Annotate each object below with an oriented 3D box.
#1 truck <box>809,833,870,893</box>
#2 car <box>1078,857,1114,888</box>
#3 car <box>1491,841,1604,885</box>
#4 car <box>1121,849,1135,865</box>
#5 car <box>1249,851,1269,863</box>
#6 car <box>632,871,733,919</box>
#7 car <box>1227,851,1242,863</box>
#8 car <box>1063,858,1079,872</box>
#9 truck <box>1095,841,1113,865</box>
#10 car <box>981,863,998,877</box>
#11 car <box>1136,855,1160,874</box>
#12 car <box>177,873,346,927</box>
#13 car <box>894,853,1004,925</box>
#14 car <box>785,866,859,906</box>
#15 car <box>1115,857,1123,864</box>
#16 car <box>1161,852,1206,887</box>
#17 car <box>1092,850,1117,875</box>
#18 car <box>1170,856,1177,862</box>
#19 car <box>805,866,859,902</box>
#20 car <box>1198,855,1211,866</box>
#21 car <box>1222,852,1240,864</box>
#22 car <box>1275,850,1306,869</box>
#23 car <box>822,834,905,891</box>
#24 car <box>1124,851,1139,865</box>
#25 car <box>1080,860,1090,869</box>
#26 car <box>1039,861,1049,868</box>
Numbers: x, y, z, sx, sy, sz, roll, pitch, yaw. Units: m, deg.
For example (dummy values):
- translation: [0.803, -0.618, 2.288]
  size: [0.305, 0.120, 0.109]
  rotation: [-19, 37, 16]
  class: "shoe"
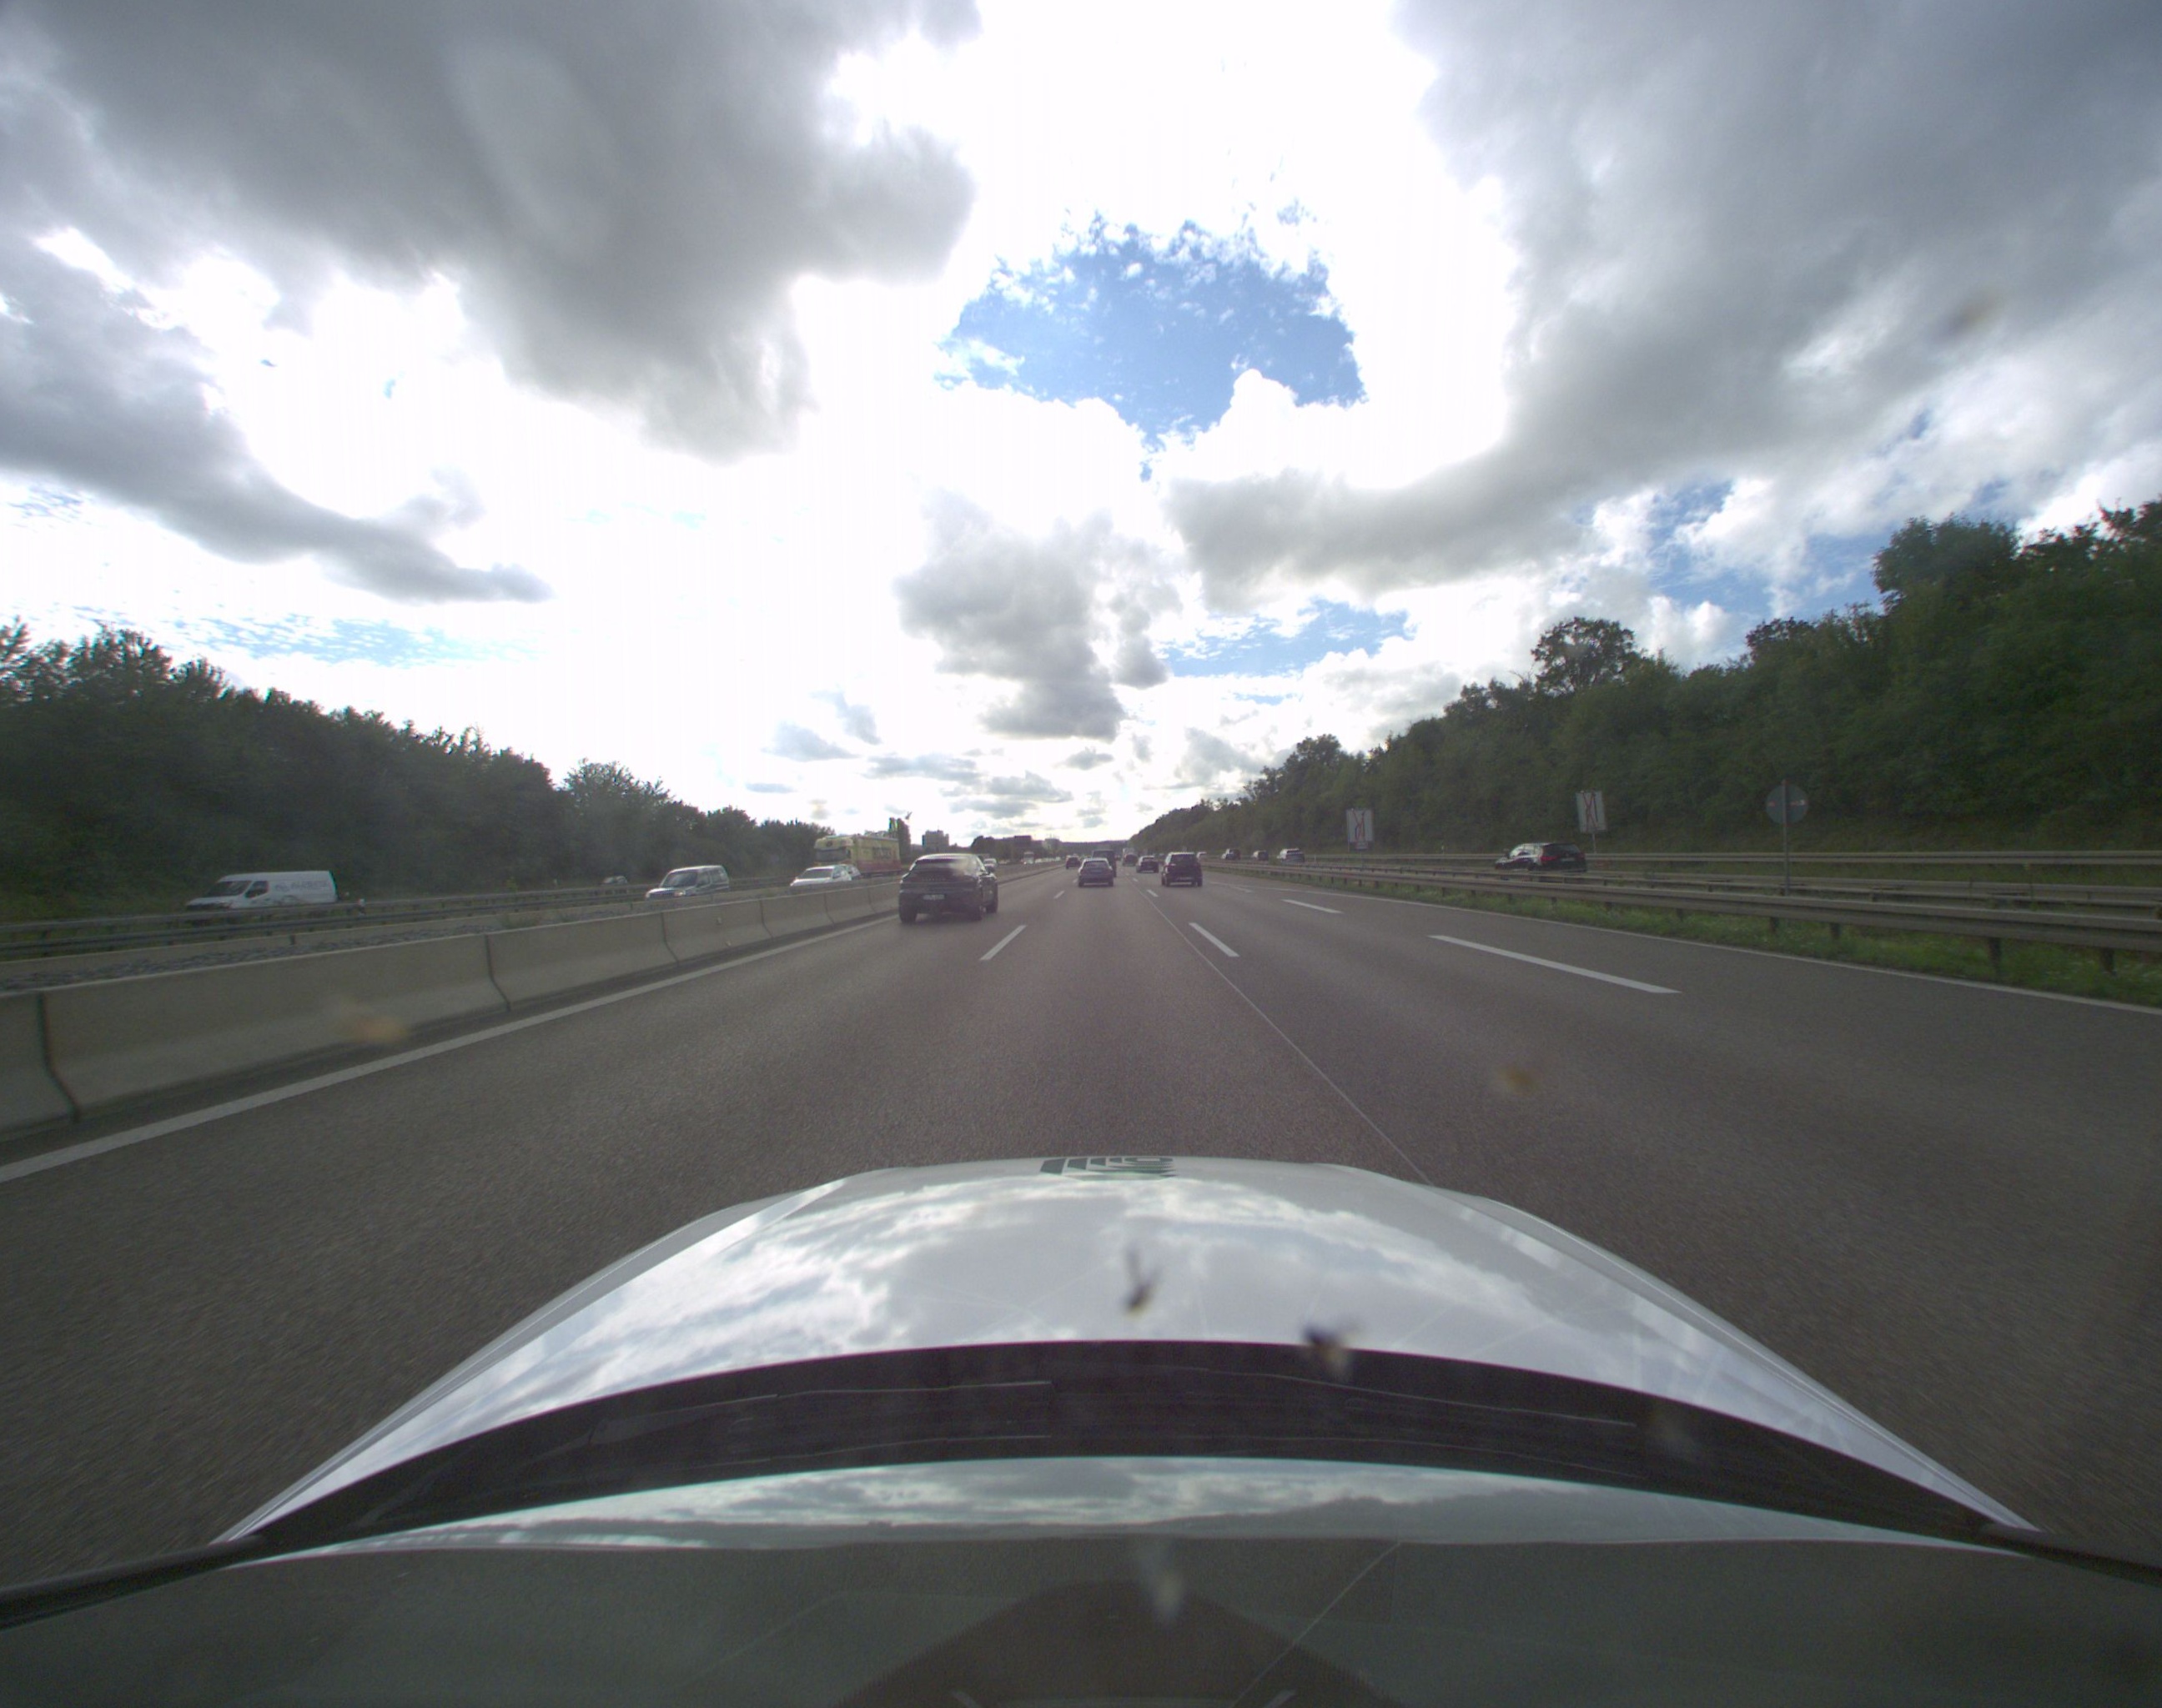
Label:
- translation: [-18.475, 0.704, 62.688]
  size: [2.886, 4.323, 5.163]
  rotation: [-2, 0, 1]
  class: "truck"
- translation: [0.762, 0.901, 41.848]
  size: [1.714, 1.479, 4.392]
  rotation: [-1, 0, 1]
  class: "car"
- translation: [18.027, 0.323, 31.728]
  size: [1.836, 1.484, 4.527]
  rotation: [-4, 0, 1]
  class: "car"
- translation: [7.203, 0.465, 124.859]
  size: [1.866, 2.357, 4.283]
  rotation: [-1, 0, 1]
  class: "car"
- translation: [23.541, 0.398, 107.759]
  size: [1.723, 1.546, 4.305]
  rotation: [-4, 0, 0]
  class: "car"
- translation: [-15.111, 1.490, 31.155]
  size: [1.588, 1.611, 4.464]
  rotation: [-1, 0, 1]
  class: "car"
- translation: [24.514, 0.527, 130.060]
  size: [1.590, 1.804, 3.824]
  rotation: [-1, -1, 0]
  class: "car"
- translation: [-1.202, 1.350, 102.333]
  size: [1.866, 1.698, 4.073]
  rotation: [-2, -1, 1]
  class: "car"
- translation: [4.388, -0.110, 155.324]
  size: [3.251, 4.375, 11.029]
  rotation: [-1, 0, 1]
  class: "truck"
- translation: [-13.045, 2.259, 115.856]
  size: [1.727, 1.794, 5.125]
  rotation: [-2, 0, 1]
  class: "car"
- translation: [5.880, 0.900, 71.854]
  size: [1.825, 1.521, 4.226]
  rotation: [-1, 0, 1]
  class: "car"
- translation: [-39.446, 2.141, 39.483]
  size: [1.985, 2.234, 5.894]
  rotation: [-2, 0, 3]
  class: "car"
- translation: [-3.339, 0.838, 21.748]
  size: [1.905, 1.636, 5.501]
  rotation: [-1, 0, 1]
  class: "car"
- translation: [-11.121, 1.323, 35.233]
  size: [1.770, 1.572, 4.182]
  rotation: [-1, 0, 1]
  class: "car"
- translation: [10.021, 1.751, 214.925]
  size: [1.746, 1.695, 4.191]
  rotation: [-1, -1, 1]
  class: "car"
- translation: [4.986, 0.726, 39.998]
  size: [1.691, 1.564, 4.114]
  rotation: [-2, 0, 1]
  class: "car"
- translation: [1.731, 0.633, 59.388]
  size: [1.714, 1.724, 4.392]
  rotation: [-1, 0, 1]
  class: "car"
- translation: [26.711, 1.401, 235.259]
  size: [1.746, 1.517, 4.190]
  rotation: [-1, -1, 0]
  class: "car"
- translation: [-14.859, 1.745, 48.824]
  size: [1.746, 2.014, 4.554]
  rotation: [-1, 0, 1]
  class: "car"
- translation: [21.324, 1.110, 140.455]
  size: [1.746, 1.695, 4.191]
  rotation: [-1, -1, 1]
  class: "car"
- translation: [20.299, 0.564, 110.255]
  size: [1.590, 1.546, 4.189]
  rotation: [-1, -1, 0]
  class: "car"
- translation: [19.471, 0.496, 75.771]
  size: [1.840, 1.650, 4.307]
  rotation: [-4, 0, 1]
  class: "car"
- translation: [-18.280, 0.693, 69.869]
  size: [2.895, 4.325, 14.148]
  rotation: [-2, 0, 1]
  class: "car"
- translation: [7.319, 0.554, 118.057]
  size: [1.906, 1.919, 4.031]
  rotation: [-1, 0, 1]
  class: "car"
- translation: [0.711, 1.874, 146.465]
  size: [1.691, 1.611, 4.114]
  rotation: [-2, 0, 1]
  class: "car"
- translation: [-7.649, 2.125, 169.477]
  size: [1.750, 1.402, 4.076]
  rotation: [-2, 0, 2]
  class: "car"
